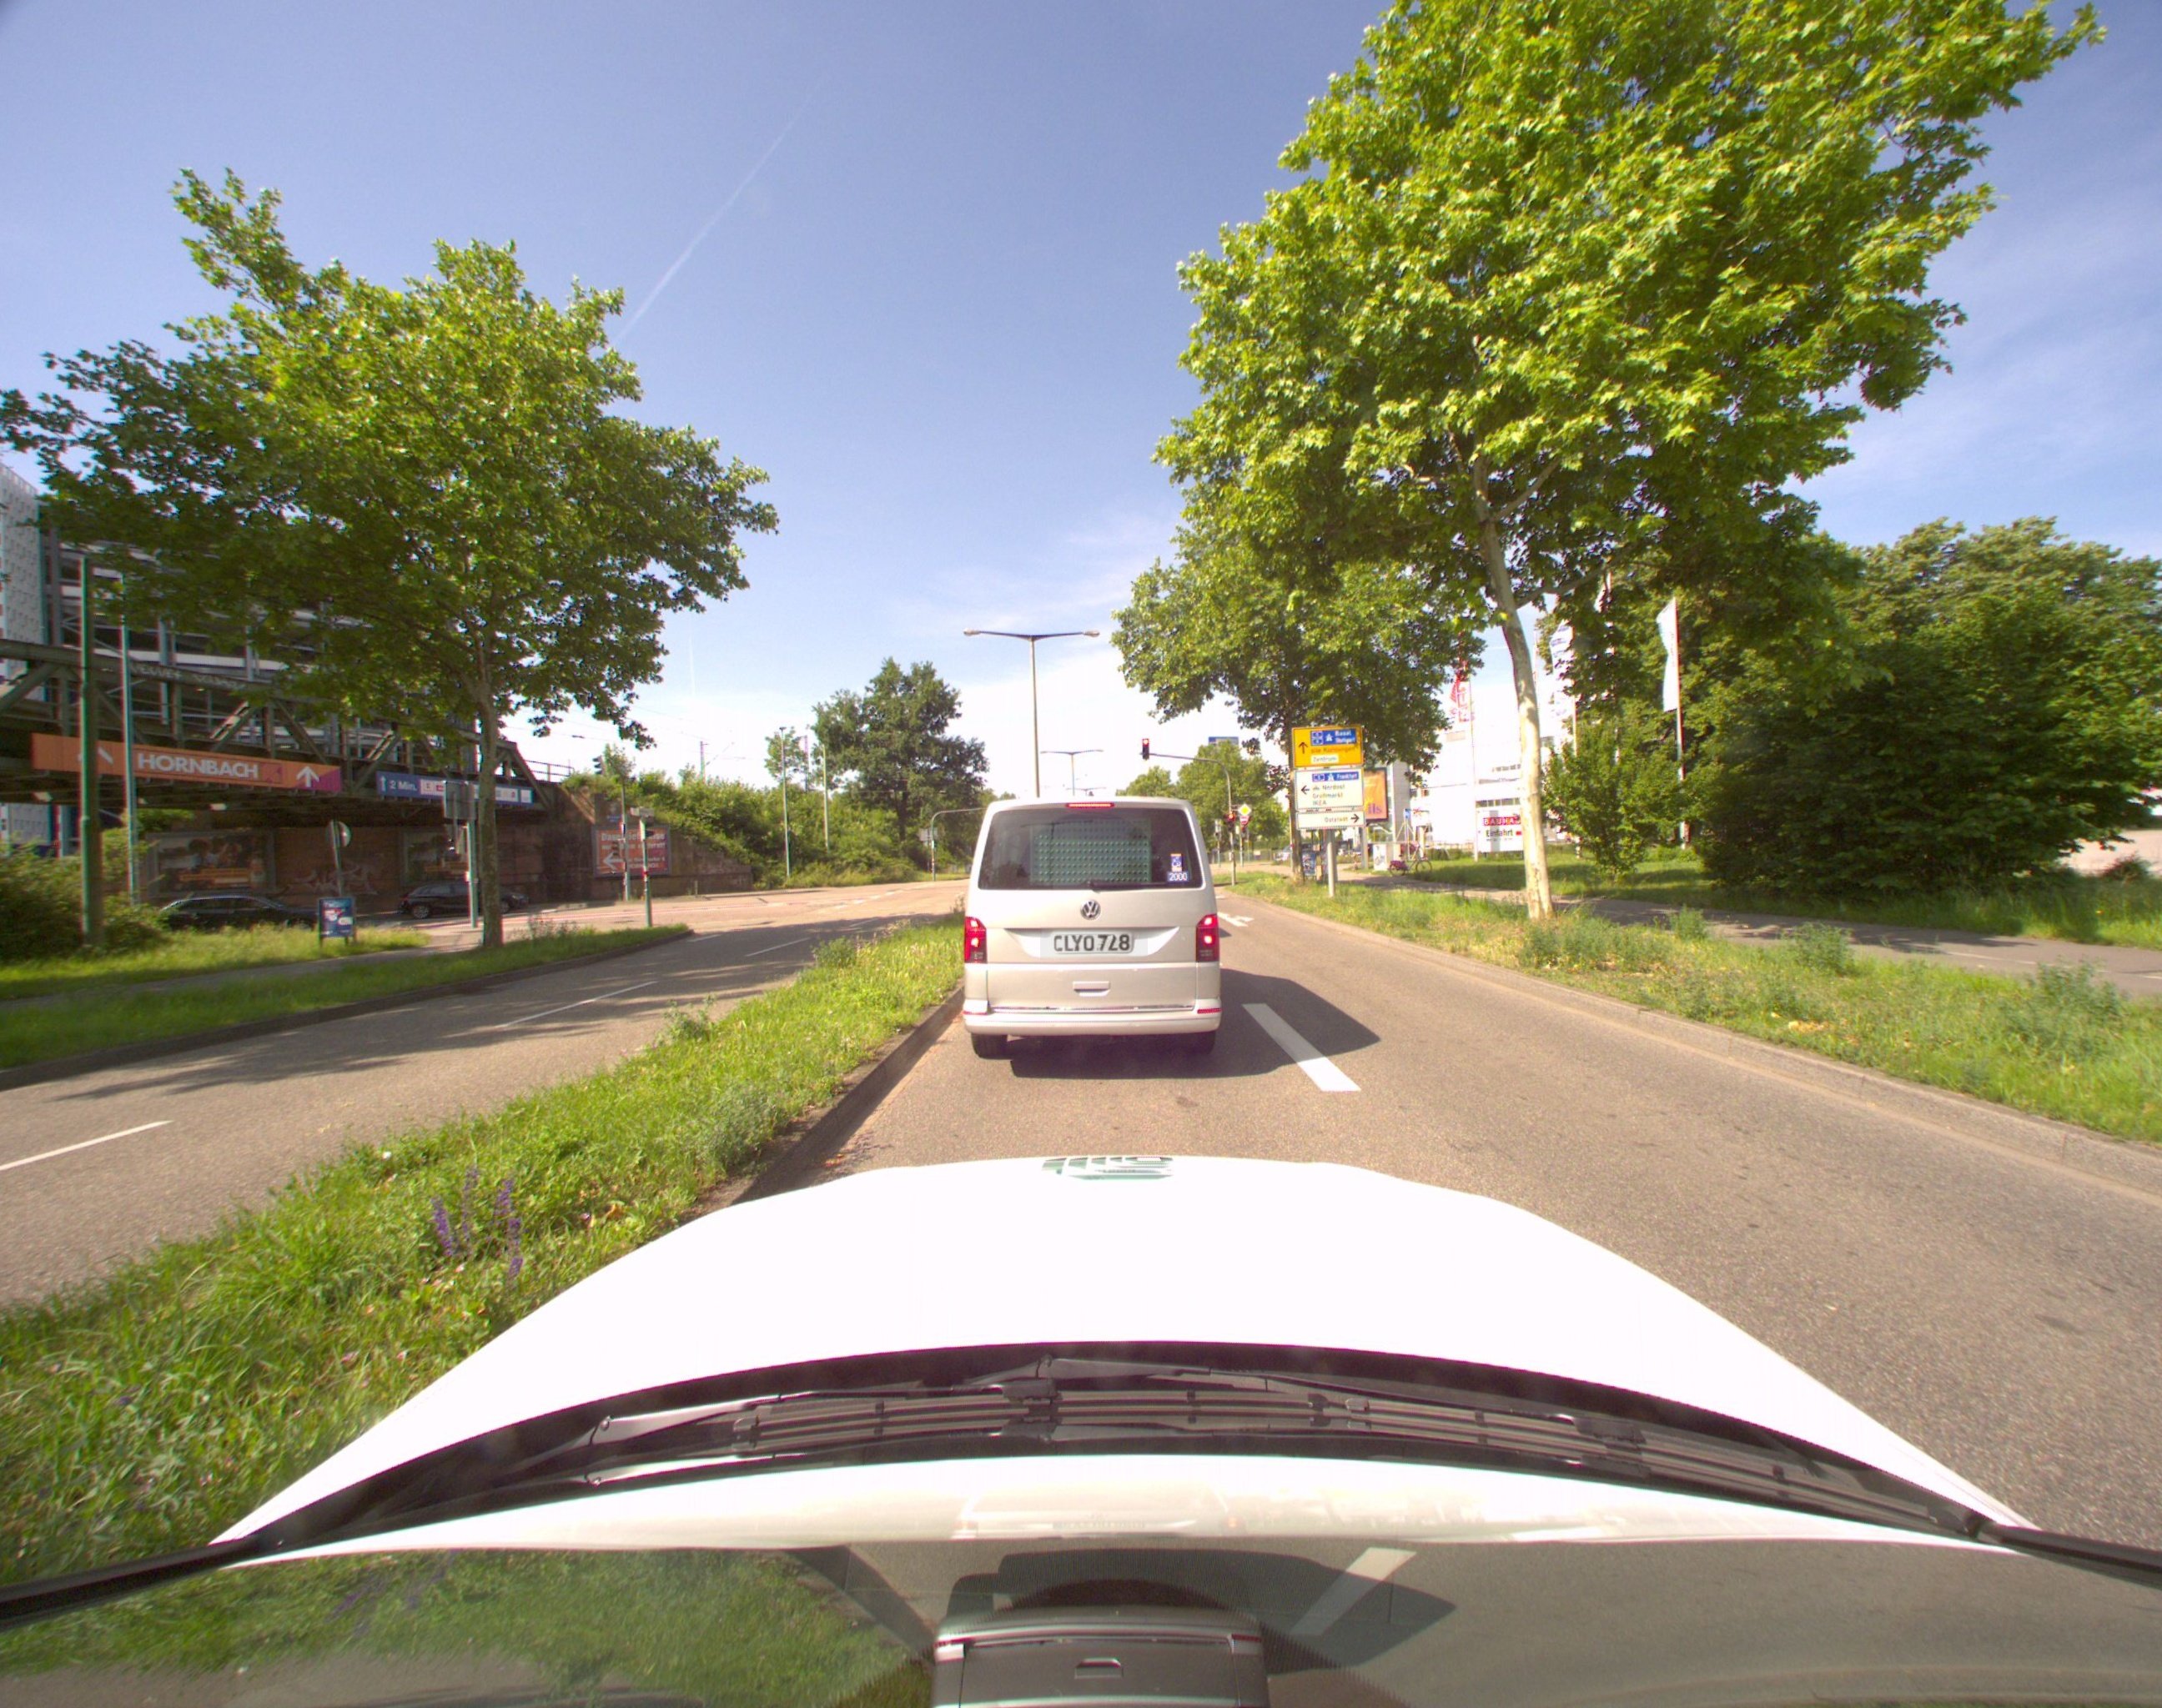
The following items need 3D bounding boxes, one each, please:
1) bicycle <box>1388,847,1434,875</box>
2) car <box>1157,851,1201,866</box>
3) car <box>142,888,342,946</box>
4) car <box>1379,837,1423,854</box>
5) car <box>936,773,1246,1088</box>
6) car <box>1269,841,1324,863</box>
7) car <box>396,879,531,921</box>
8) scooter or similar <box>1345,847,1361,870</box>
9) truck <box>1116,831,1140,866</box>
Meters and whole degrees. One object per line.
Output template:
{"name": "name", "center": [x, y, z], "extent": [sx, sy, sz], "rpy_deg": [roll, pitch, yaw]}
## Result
{"name": "bicycle", "center": [14.194, 0.295, 35.065], "extent": [1.771, 1.108, 0.506], "rpy_deg": [-4, -1, 20]}
{"name": "car", "center": [10.686, 0.529, 88.997], "extent": [1.792, 1.444, 4.570], "rpy_deg": [-2, 0, -43]}
{"name": "car", "center": [-25.483, 1.868, 24.966], "extent": [3.959, 1.481, 1.804], "rpy_deg": [-1, -1, -34]}
{"name": "car", "center": [31.984, -0.848, 81.460], "extent": [4.646, 1.444, 1.762], "rpy_deg": [-3, 0, -35]}
{"name": "car", "center": [0.141, 0.499, 7.757], "extent": [1.934, 1.971, 5.024], "rpy_deg": [-2, 0, 2]}
{"name": "car", "center": [18.166, -0.191, 68.553], "extent": [4.646, 1.689, 1.895], "rpy_deg": [-3, 0, -35]}
{"name": "car", "center": [-25.642, 1.872, 34.030], "extent": [4.353, 1.395, 1.752], "rpy_deg": [-3, 0, -35]}
{"name": "scooter or similar", "center": [14.109, 0.233, 42.204], "extent": [0.423, 1.126, 1.124], "rpy_deg": [-3, 0, 1]}
{"name": "truck", "center": [5.727, -0.632, 100.972], "extent": [2.543, 3.957, 8.977], "rpy_deg": [-2, 0, 2]}
